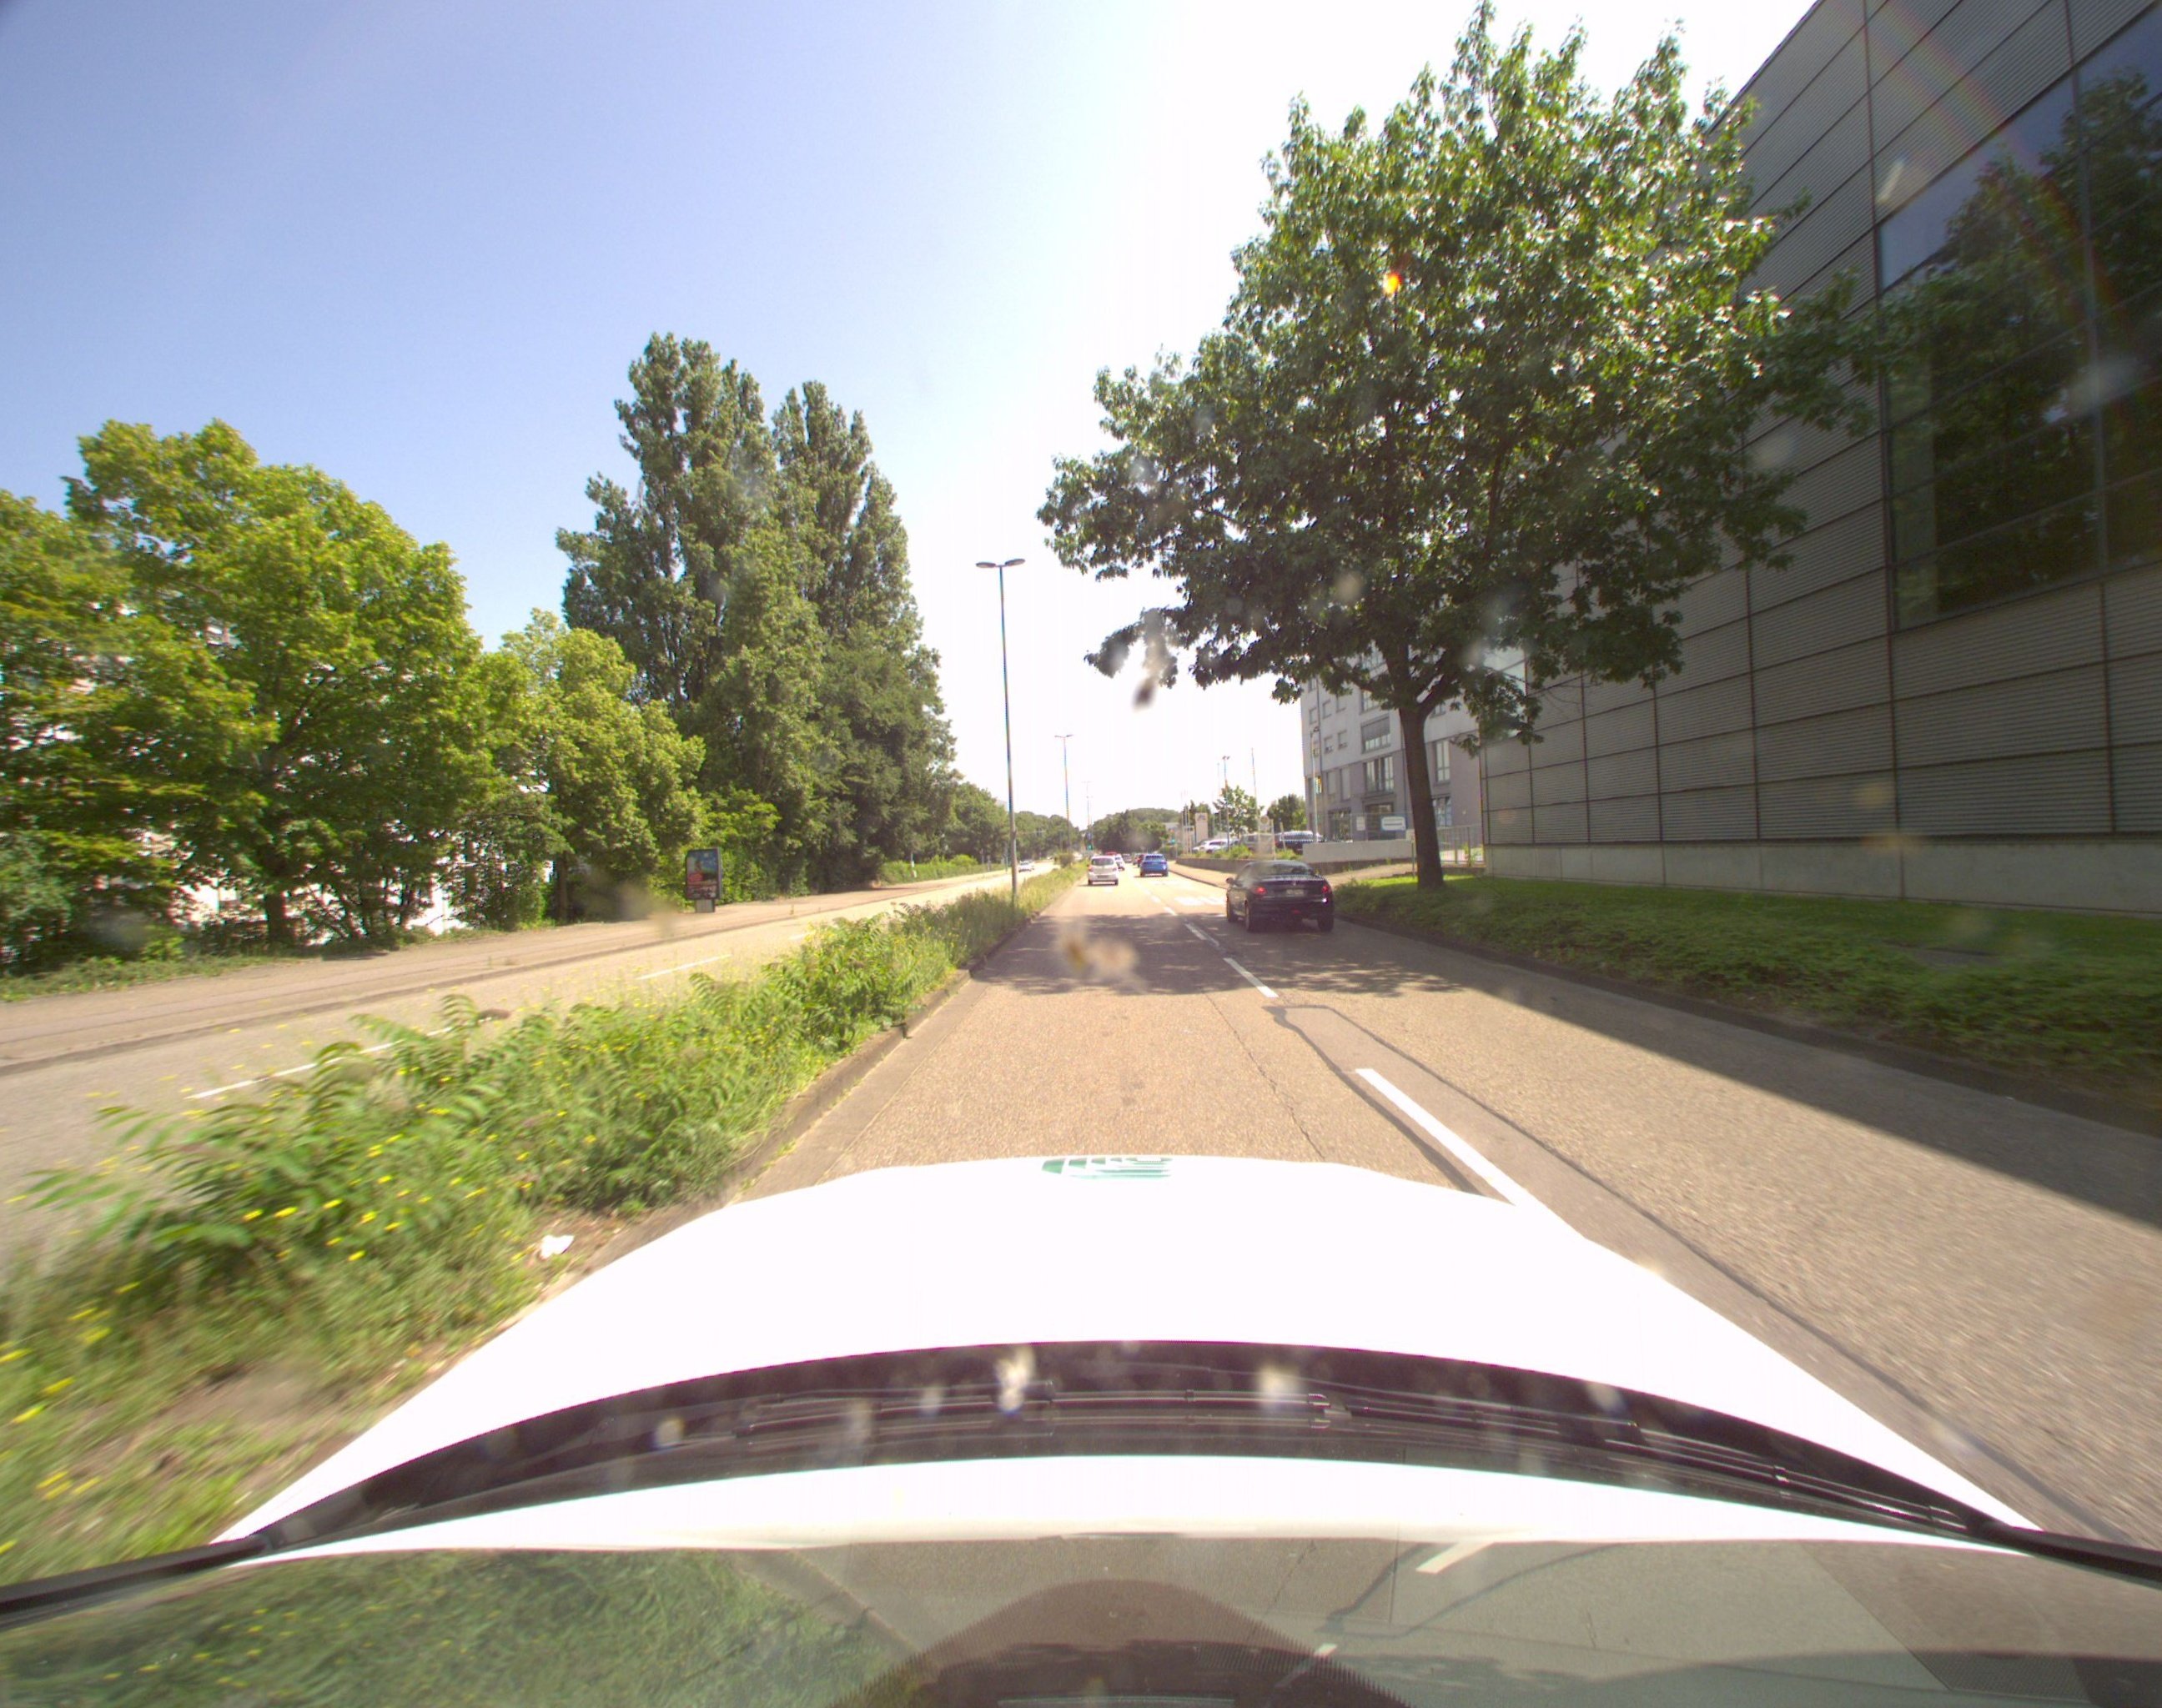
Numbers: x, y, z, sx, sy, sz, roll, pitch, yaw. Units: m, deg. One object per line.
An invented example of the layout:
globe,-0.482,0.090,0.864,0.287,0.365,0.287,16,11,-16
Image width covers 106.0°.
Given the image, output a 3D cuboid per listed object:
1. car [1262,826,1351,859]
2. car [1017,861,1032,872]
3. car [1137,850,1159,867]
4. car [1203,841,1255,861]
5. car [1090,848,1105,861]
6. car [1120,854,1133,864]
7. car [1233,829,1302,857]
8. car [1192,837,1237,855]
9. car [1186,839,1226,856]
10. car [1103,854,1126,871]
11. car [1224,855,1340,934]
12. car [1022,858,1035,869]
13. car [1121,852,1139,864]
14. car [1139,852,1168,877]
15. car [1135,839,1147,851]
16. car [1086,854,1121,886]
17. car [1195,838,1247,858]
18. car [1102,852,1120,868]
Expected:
car,12.898,-0.643,46.784,4.484,1.583,2.000,-4,0,0
car,-7.847,1.732,113.359,1.730,1.413,4.371,-3,0,0
car,6.964,0.449,85.141,1.986,1.640,4.001,-3,0,1
car,12.627,-0.251,69.441,3.935,1.452,1.753,-3,0,-20
car,2.428,0.071,118.124,1.815,1.661,3.996,-3,1,-3
car,7.678,0.822,138.813,1.986,1.508,4.001,-3,0,1
car,12.688,-0.727,55.527,4.213,1.647,2.000,-4,0,0
car,14.066,-0.833,85.989,4.333,1.544,1.999,-4,0,-1
car,13.578,-0.668,88.829,3.975,1.544,1.999,-4,0,-1
car,3.197,0.794,78.522,1.986,1.442,4.001,-3,0,1
car,4.025,0.750,16.842,1.621,1.364,3.607,-1,1,2
car,-8.452,1.576,130.992,1.851,1.596,4.314,-3,0,-1
car,6.139,0.464,102.340,1.986,1.420,4.001,-3,0,1
car,5.041,0.685,56.952,1.820,1.580,3.608,-3,1,3
car,11.595,-1.735,157.255,1.765,2.013,3.988,-3,0,-2
car,1.219,0.811,43.578,1.741,1.520,3.749,-2,1,3
car,13.247,-0.553,77.398,4.519,1.544,2.000,-4,0,1
car,3.649,0.736,99.814,1.771,1.740,3.997,-3,0,-2
